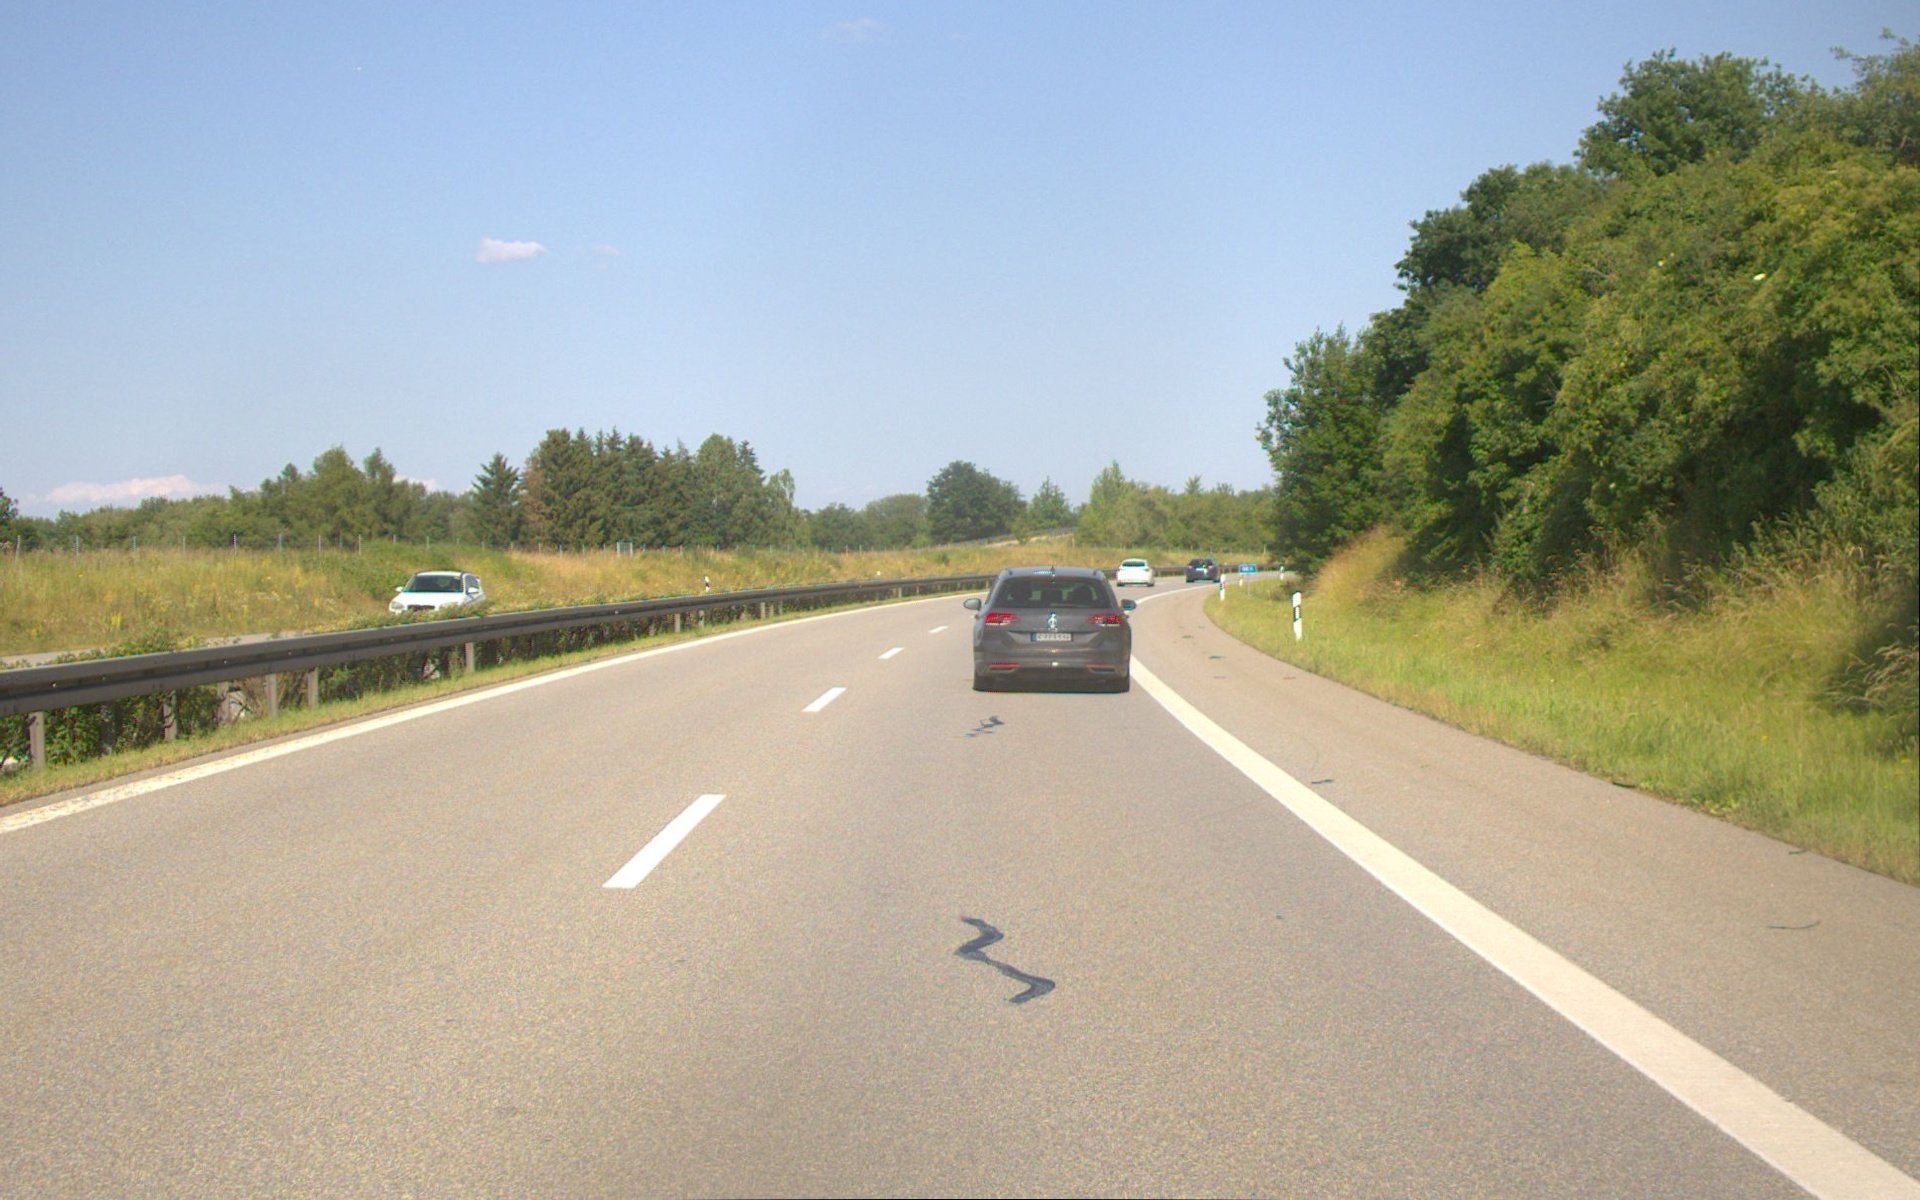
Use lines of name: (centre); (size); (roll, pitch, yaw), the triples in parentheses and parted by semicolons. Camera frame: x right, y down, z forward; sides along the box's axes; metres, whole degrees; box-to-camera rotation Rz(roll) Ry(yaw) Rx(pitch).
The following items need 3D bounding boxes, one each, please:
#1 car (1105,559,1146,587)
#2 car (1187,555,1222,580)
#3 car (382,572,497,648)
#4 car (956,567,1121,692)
car: (8.464, -1.361, 176.104); (2.007, 1.340, 4.000); (1, 0, 2)
car: (14.455, -1.937, 203.195); (1.711, 1.382, 3.354); (1, 0, 9)
car: (-12.678, 0.214, 84.015); (1.765, 1.617, 5.008); (-4, 1, 3)
car: (0.897, 0.318, 39.774); (1.791, 1.340, 4.000); (1, 0, 1)
